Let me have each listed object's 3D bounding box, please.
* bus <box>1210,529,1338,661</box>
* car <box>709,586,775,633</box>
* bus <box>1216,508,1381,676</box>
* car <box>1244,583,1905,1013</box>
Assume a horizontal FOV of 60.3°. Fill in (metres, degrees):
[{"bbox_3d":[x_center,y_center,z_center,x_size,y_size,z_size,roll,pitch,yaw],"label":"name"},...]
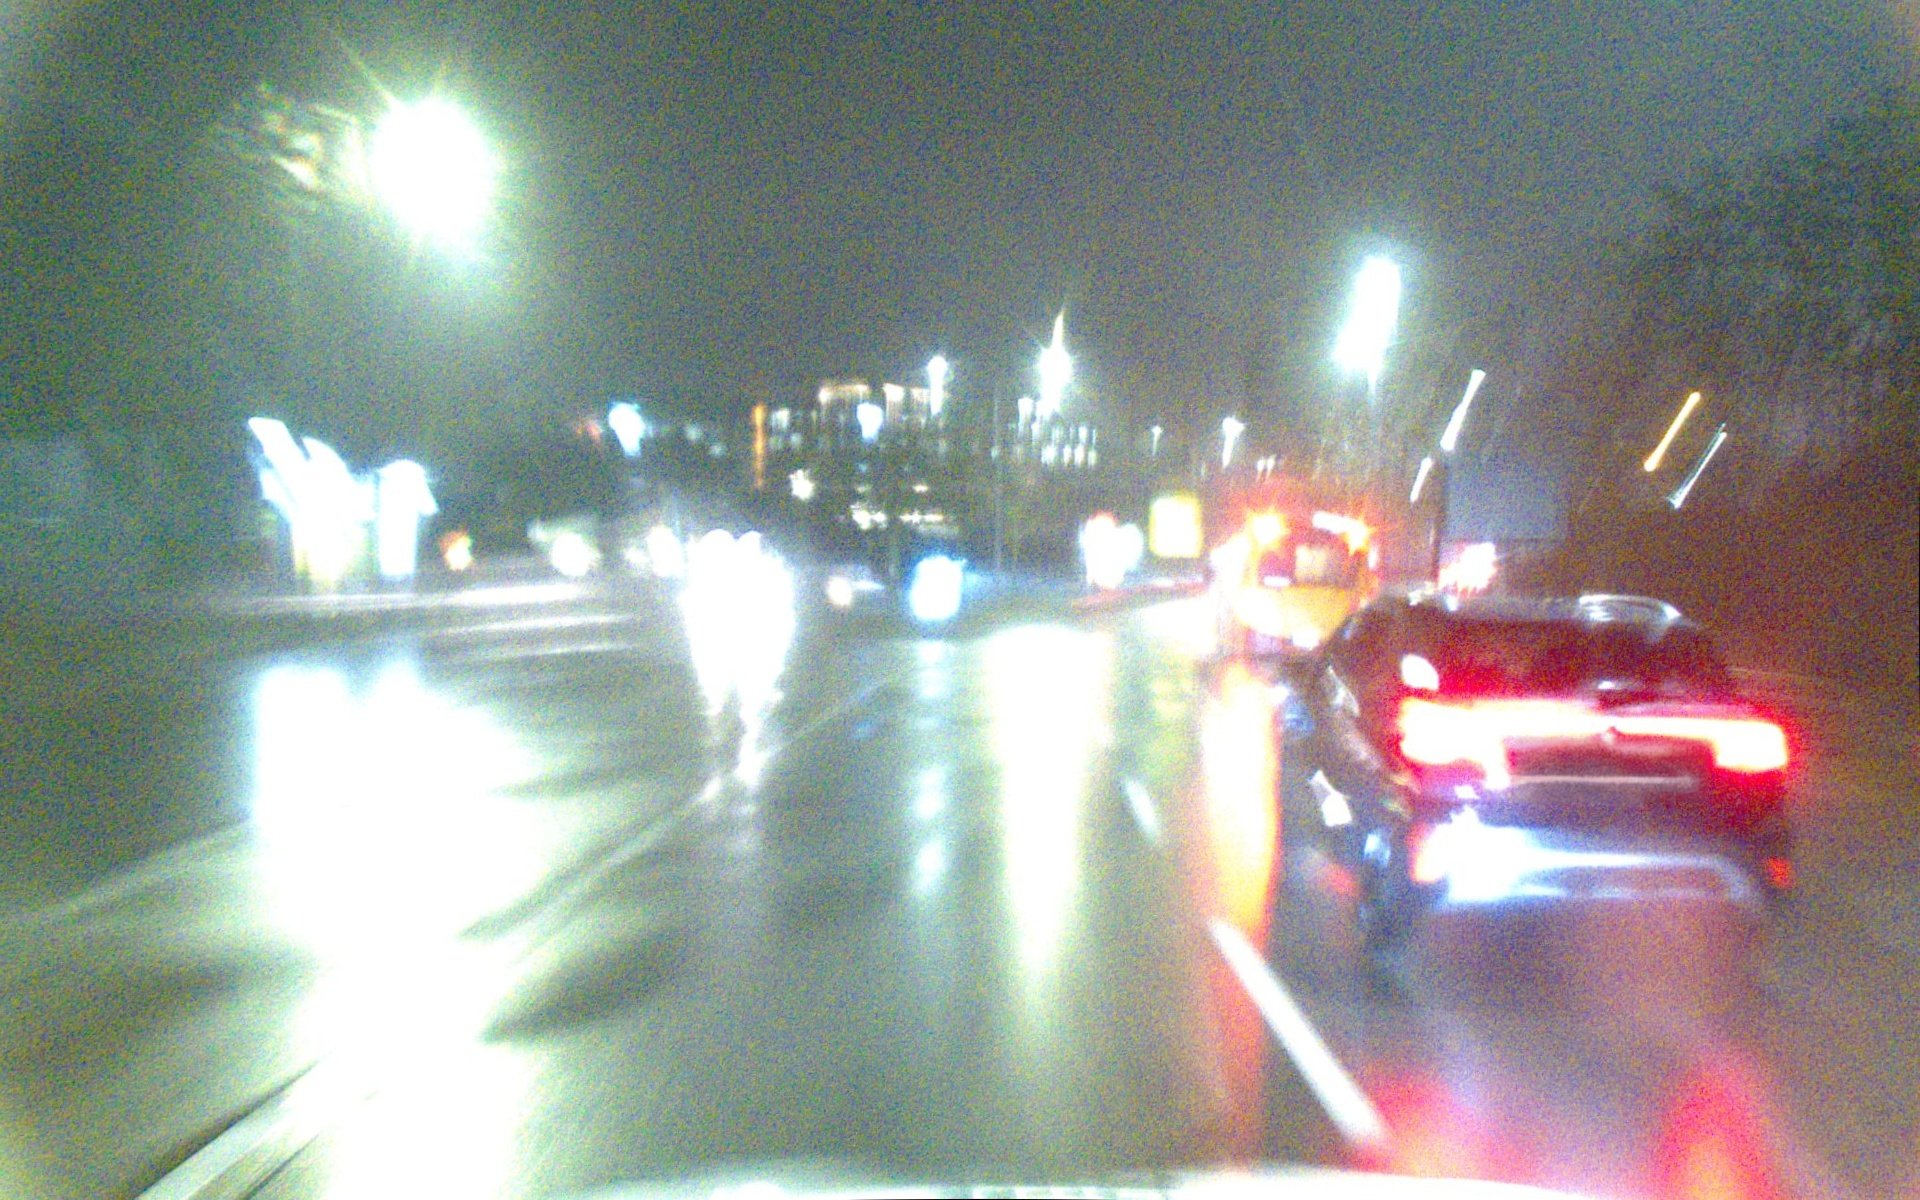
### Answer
[{"bbox_3d":[8.680,-0.129,46.720,2.979,3.268,9.057,2,0,8],"label":"bus"},{"bbox_3d":[-7.479,0.313,57.054,1.729,1.482,3.952,3,0,-1],"label":"car"},{"bbox_3d":[7.484,-0.164,37.702,2.979,3.268,9.057,2,0,8],"label":"bus"},{"bbox_3d":[2.650,0.741,8.231,1.952,1.551,4.002,2,0,3],"label":"car"}]
